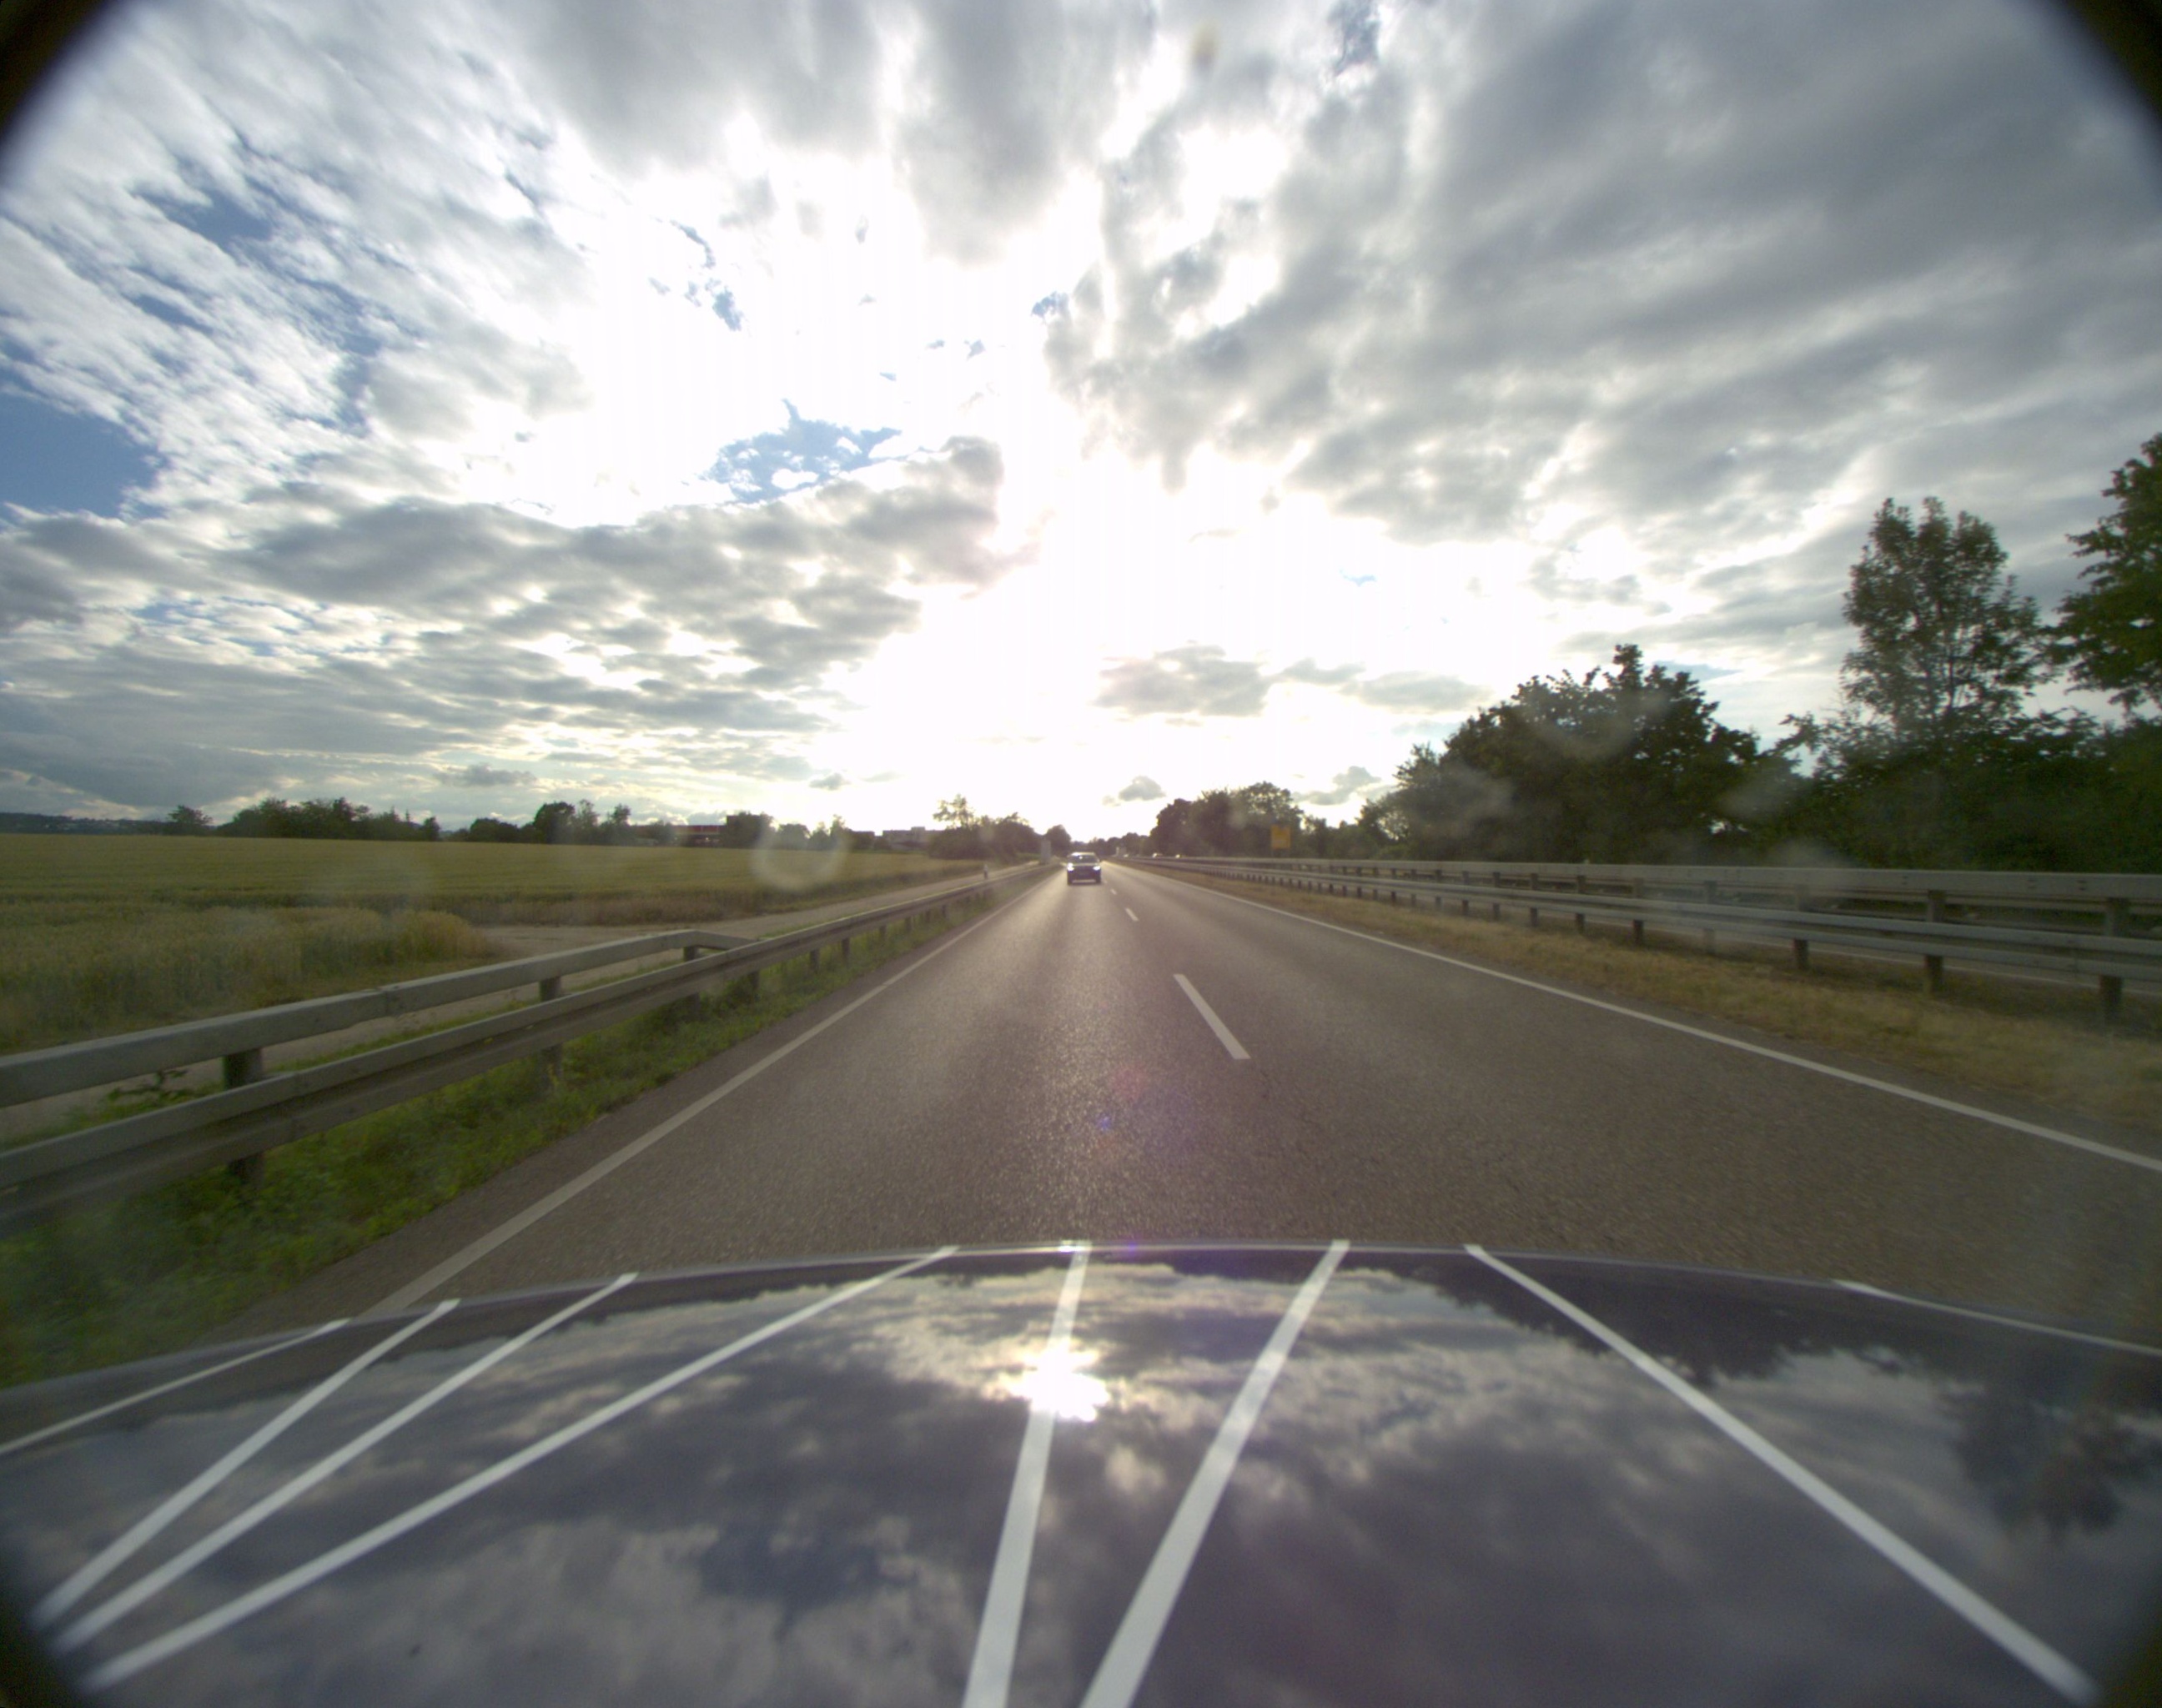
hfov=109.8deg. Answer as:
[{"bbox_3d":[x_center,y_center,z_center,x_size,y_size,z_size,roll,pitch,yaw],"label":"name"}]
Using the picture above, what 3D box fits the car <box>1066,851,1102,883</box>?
[{"bbox_3d":[0.180,0.681,41.993,1.863,1.636,4.000,-2,1,1],"label":"car"}]
